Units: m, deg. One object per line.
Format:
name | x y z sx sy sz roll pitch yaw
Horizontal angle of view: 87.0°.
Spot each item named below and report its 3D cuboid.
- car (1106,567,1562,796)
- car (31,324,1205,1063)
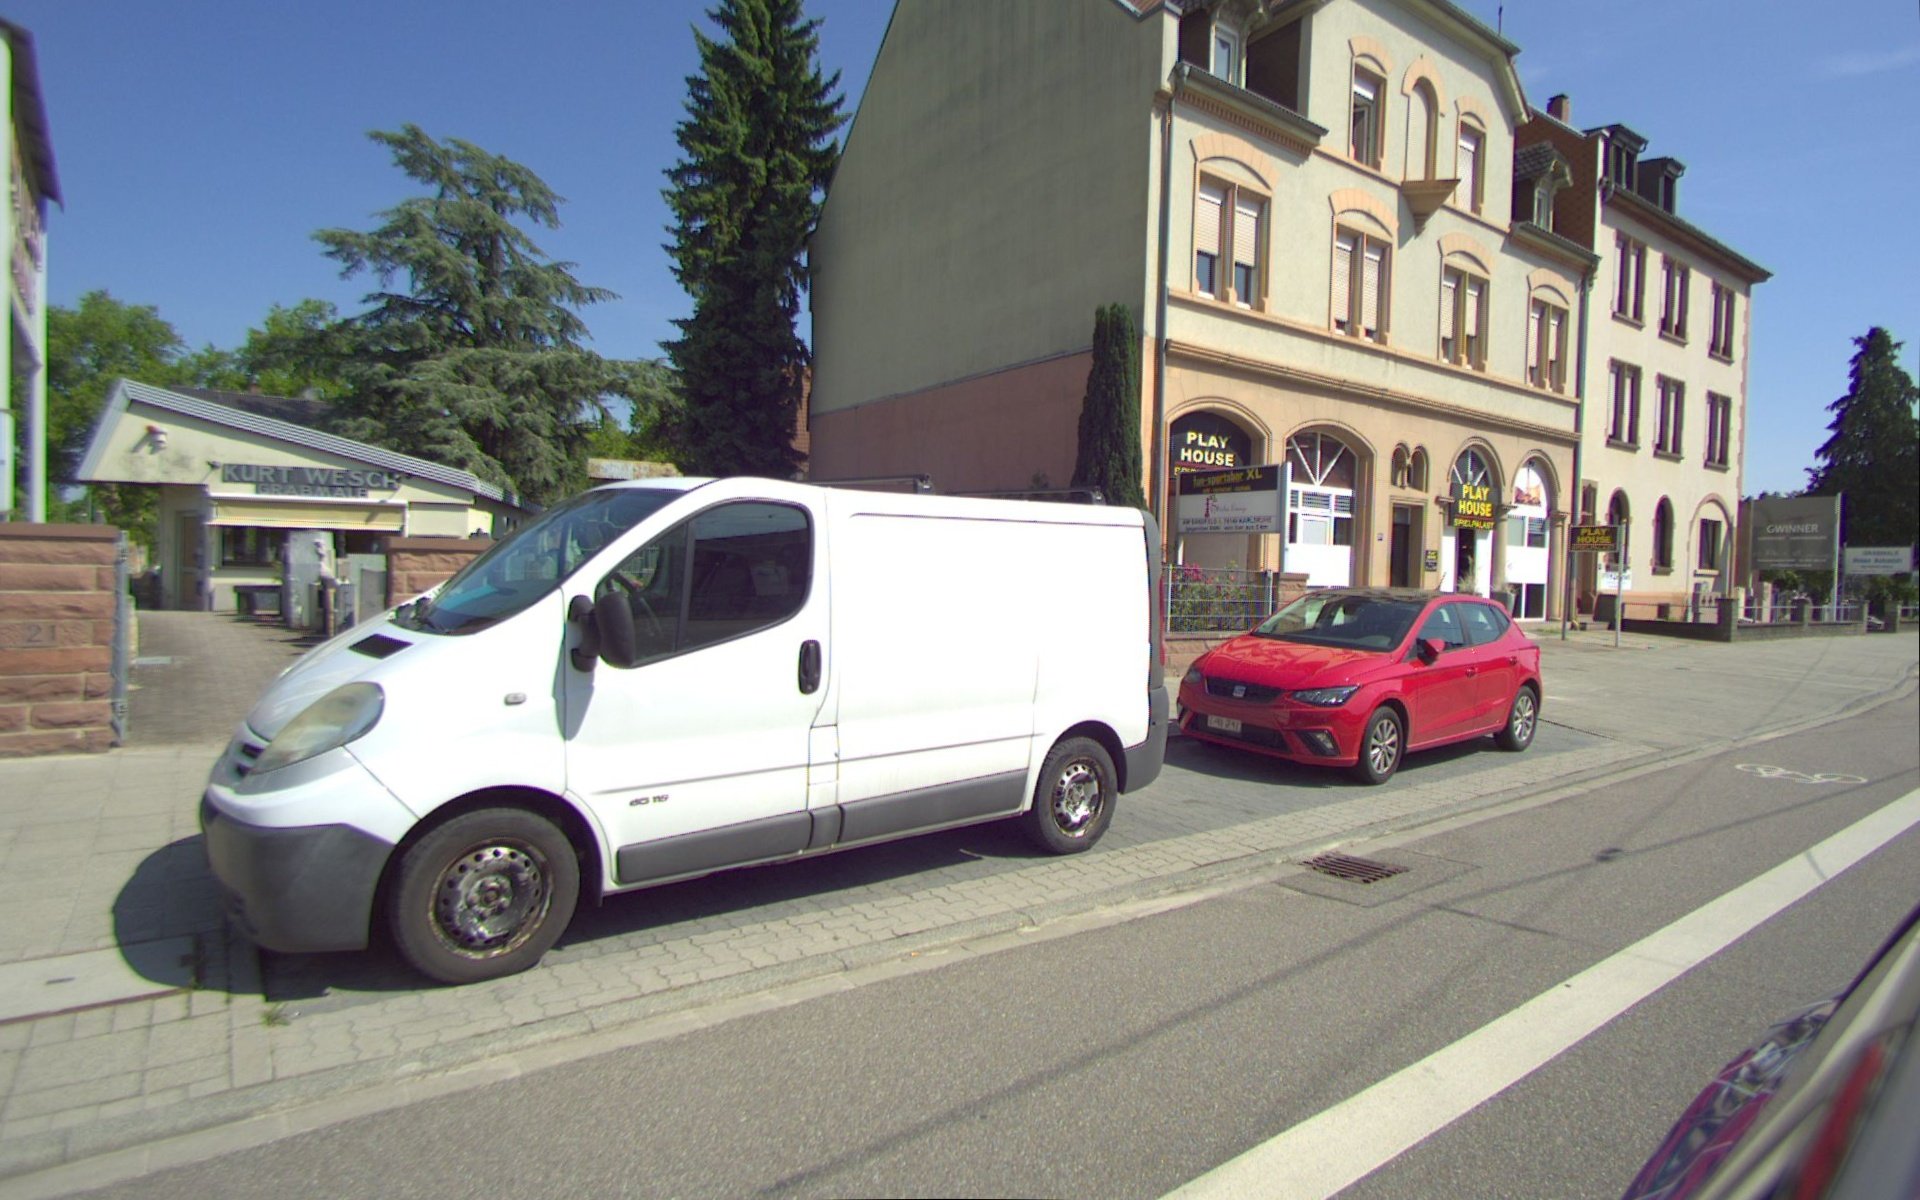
car | 3.385 0.517 8.786 4.234 1.460 1.727 0 4 -39
car | -1.202 0.221 5.204 5.096 2.079 1.982 1 4 -39
